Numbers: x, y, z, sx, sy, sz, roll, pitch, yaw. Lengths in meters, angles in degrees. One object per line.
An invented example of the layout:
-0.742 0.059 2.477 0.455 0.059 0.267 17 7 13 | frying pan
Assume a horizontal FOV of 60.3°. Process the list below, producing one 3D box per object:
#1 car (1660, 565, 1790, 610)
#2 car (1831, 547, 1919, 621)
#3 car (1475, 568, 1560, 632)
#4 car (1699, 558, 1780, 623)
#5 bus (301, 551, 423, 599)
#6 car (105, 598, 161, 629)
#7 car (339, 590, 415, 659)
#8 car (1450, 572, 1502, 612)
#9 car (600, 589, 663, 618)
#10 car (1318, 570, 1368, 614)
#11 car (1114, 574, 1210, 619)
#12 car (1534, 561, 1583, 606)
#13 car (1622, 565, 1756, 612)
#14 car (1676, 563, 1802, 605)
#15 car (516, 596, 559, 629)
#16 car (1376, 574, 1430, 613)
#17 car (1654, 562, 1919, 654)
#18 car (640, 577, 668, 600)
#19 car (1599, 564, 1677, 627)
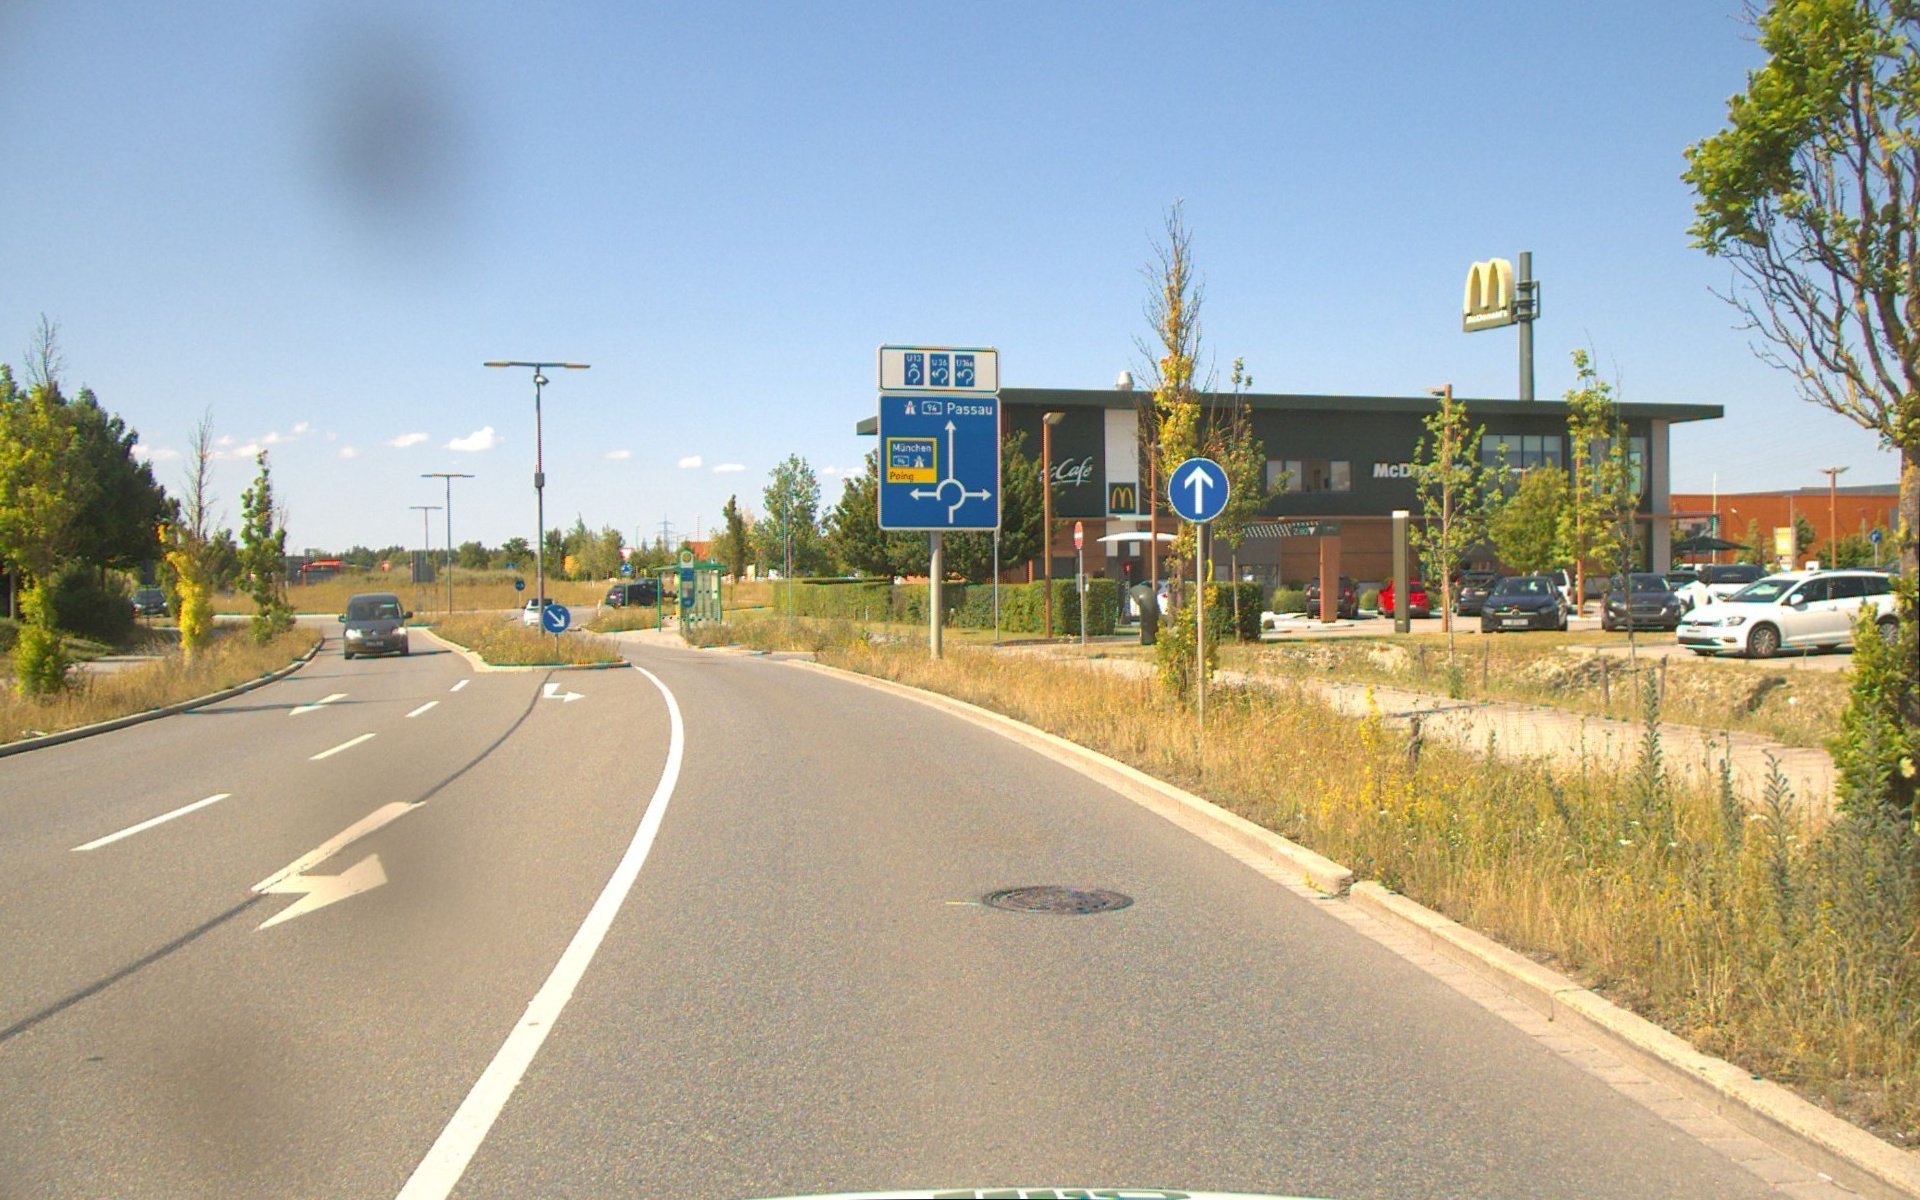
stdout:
25.977 -0.425 56.165 3.909 1.397 1.797 -1 0 27 | car
23.026 -0.413 39.405 4.095 1.664 1.780 -1 0 -21 | car
13.879 -0.037 41.064 1.663 1.487 4.168 -1 1 23 | car
20.461 -0.259 43.557 1.749 1.607 4.168 -1 1 23 | car
-44.757 -1.984 124.342 2.727 3.132 12.217 -1 3 10 | bus
-46.337 0.785 92.625 1.750 1.570 4.176 -4 2 -41 | car
-16.966 0.660 48.056 1.923 1.825 4.399 -3 1 -21 | car
20.849 -0.349 66.745 1.755 1.539 4.001 -1 0 21 | car
-18.874 0.190 95.180 1.731 1.543 3.799 -1 0 22 | car
14.991 -0.327 64.865 1.754 1.632 4.004 -1 0 11 | car
7.081 -0.122 58.277 1.766 1.459 3.977 -1 0 -19 | car
24.604 -0.680 67.889 1.756 1.731 4.000 -1 0 22 | car
23.749 -0.373 53.894 3.909 1.397 1.797 -1 0 27 | car
28.412 -0.582 60.330 4.086 1.397 1.797 -1 0 27 | car
-19.291 0.547 75.443 1.592 1.459 3.771 -1 0 -19 | car
17.545 -0.268 65.614 1.754 1.459 4.004 -1 0 11 | car
15.358 0.118 30.515 4.447 1.516 1.863 -2 1 -13 | car
-20.419 -0.760 110.556 1.586 1.459 3.787 -1 0 -7 | car
17.327 -0.135 42.210 1.749 1.487 4.168 -1 1 23 | car
